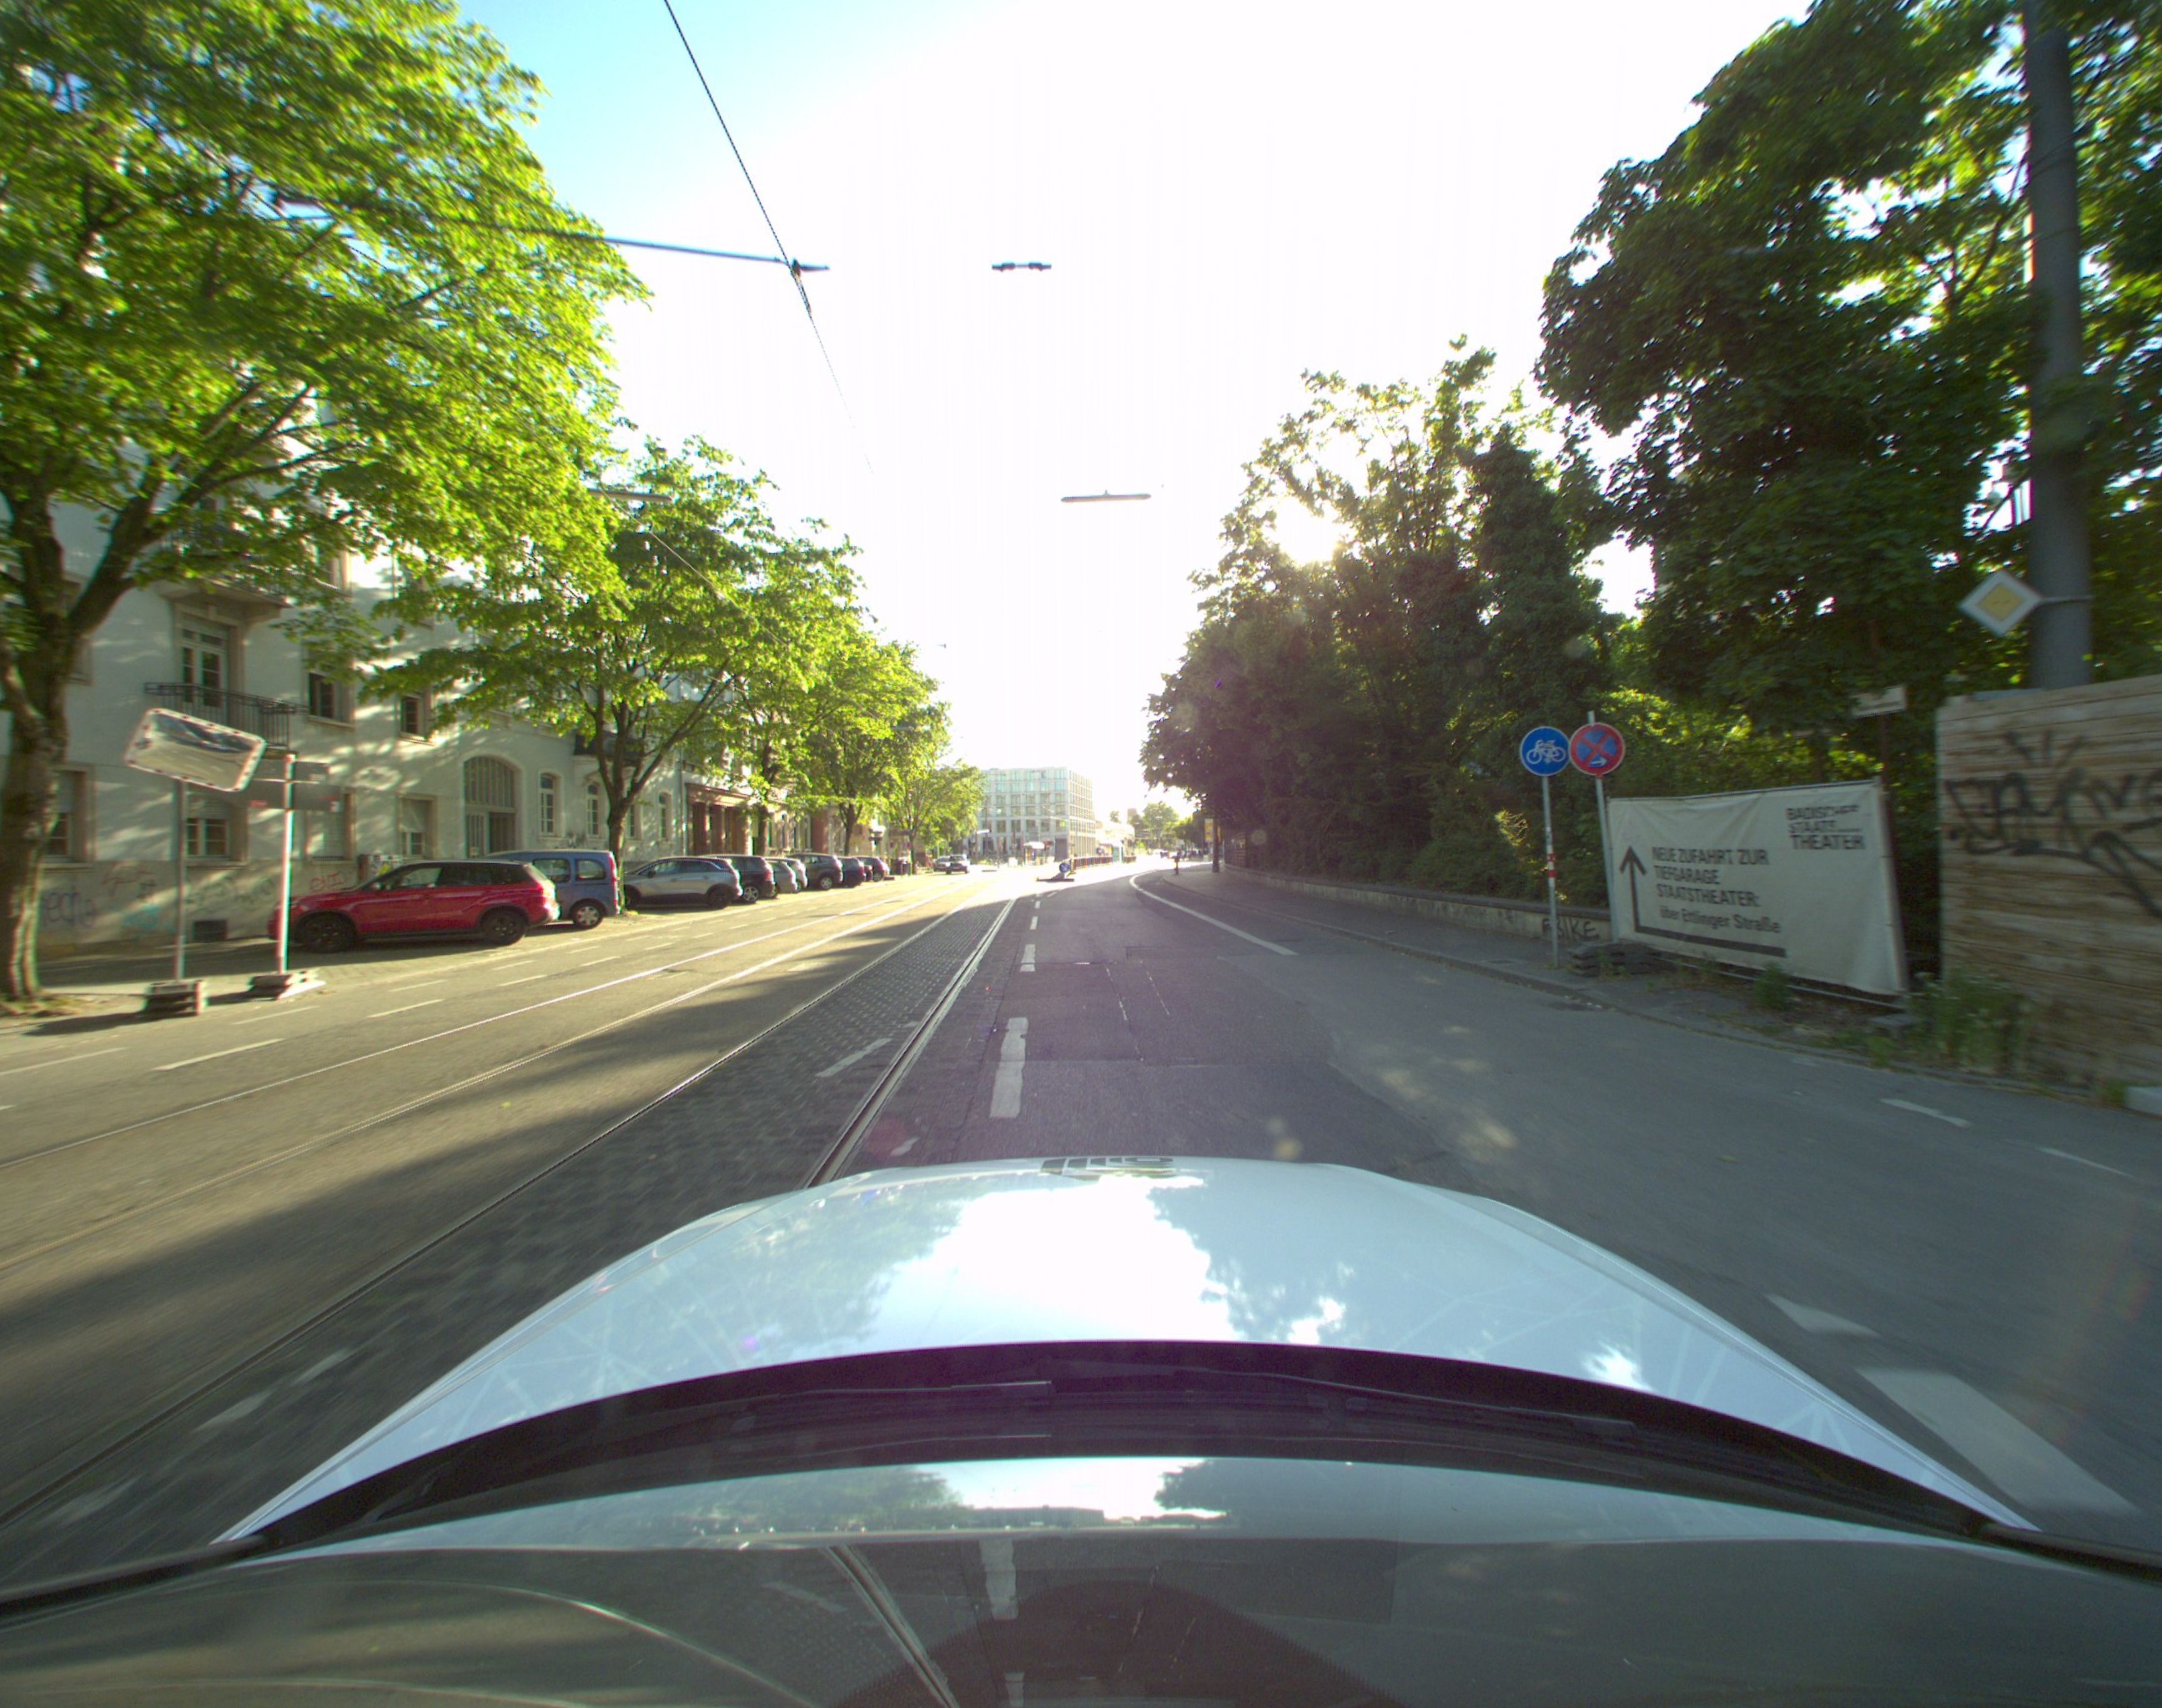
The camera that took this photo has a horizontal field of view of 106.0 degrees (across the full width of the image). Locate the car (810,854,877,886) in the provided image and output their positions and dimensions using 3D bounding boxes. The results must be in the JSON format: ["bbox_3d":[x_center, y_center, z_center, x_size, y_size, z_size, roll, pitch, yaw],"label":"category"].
[{"bbox_3d":[-12.929,0.856,44.352,3.287,1.585,1.458,-2,0,-25],"label":"car"}]

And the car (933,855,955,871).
[{"bbox_3d":[-13.689,0.912,81.546,1.569,1.490,3.997,-2,0,-2],"label":"car"}]

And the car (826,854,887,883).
[{"bbox_3d":[-13.463,0.864,48.875,3.287,1.585,1.458,-2,0,-25],"label":"car"}]

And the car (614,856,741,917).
[{"bbox_3d":[-12.348,0.949,24.982,3.395,1.697,1.391,-1,0,-31],"label":"car"}]

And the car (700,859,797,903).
[{"bbox_3d":[-12.531,0.978,30.737,3.287,1.484,1.458,-2,0,-25],"label":"car"}]

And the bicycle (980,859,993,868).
[{"bbox_3d":[-13.474,1.352,115.685,1.794,1.224,0.597,-2,0,-11],"label":"bicycle"}]

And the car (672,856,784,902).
[{"bbox_3d":[-12.160,0.821,28.085,3.395,1.419,1.391,-1,0,-31],"label":"car"}]

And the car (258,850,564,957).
[{"bbox_3d":[-12.241,0.815,15.269,4.186,1.720,1.568,-1,0,-30],"label":"car"}]

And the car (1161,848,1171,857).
[{"bbox_3d":[19.908,-0.439,191.366,1.981,2.013,4.012,-2,1,10],"label":"car"}]

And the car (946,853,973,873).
[{"bbox_3d":[-10.175,0.729,68.474,1.552,1.530,4.002,-1,0,2],"label":"car"}]

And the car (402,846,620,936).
[{"bbox_3d":[-12.630,0.762,18.325,3.855,1.832,1.714,0,-1,-33],"label":"car"}]

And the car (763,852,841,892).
[{"bbox_3d":[-12.982,0.807,37.873,3.287,1.698,1.458,-2,0,-25],"label":"car"}]

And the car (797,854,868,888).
[{"bbox_3d":[-12.623,0.844,41.415,3.287,1.585,1.458,-2,0,-25],"label":"car"}]
